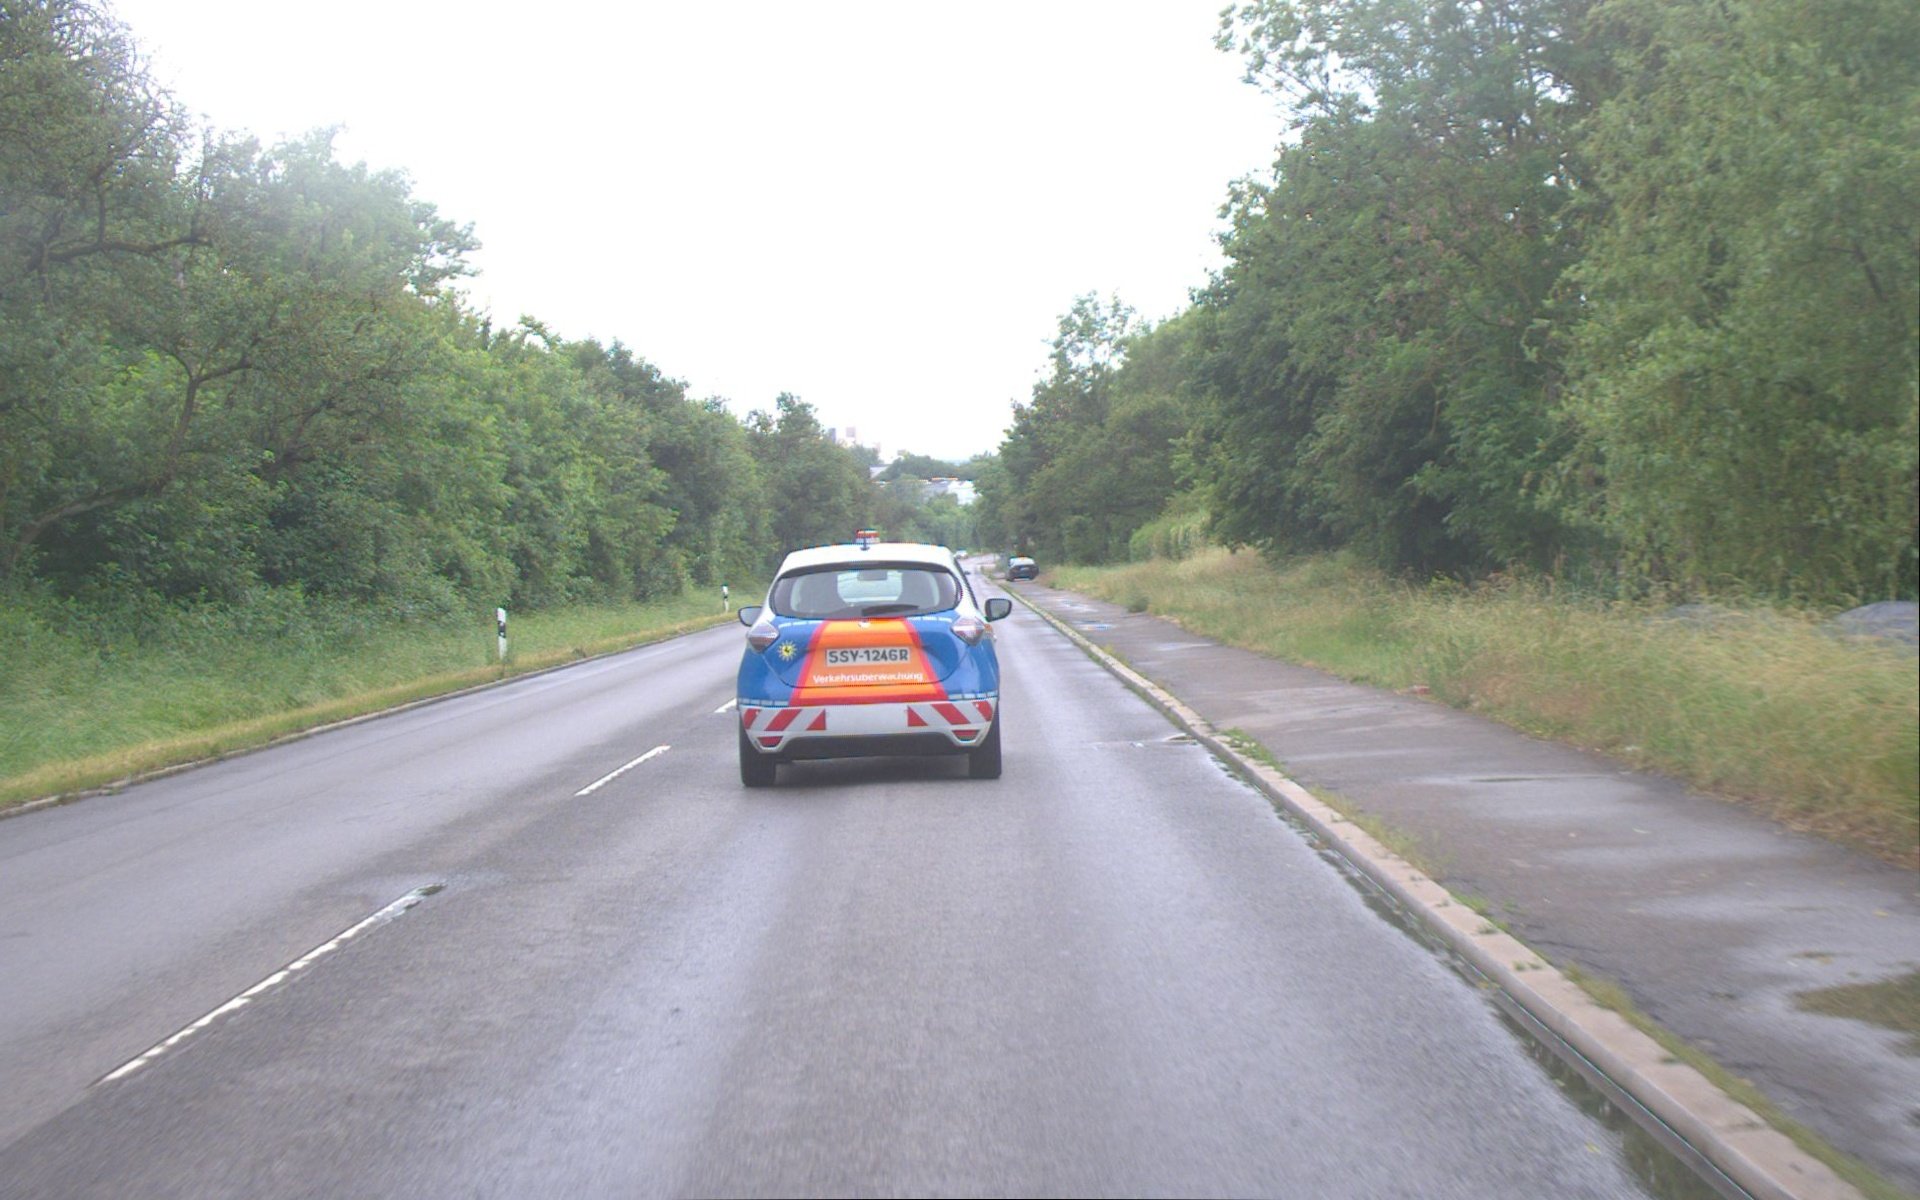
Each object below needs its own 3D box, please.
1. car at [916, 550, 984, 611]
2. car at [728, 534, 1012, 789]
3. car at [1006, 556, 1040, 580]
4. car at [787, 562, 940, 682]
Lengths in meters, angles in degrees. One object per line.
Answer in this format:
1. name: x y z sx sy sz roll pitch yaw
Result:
1. car: -0.283 -0.620 105.403 1.941 1.717 4.063 -3 1 1
2. car: -0.568 0.349 23.536 1.752 1.550 3.792 -1 1 0
3. car: 3.882 -1.970 212.630 1.993 1.371 4.000 -3 0 1
4. car: -1.110 0.242 40.938 1.598 1.282 3.476 -3 0 1
